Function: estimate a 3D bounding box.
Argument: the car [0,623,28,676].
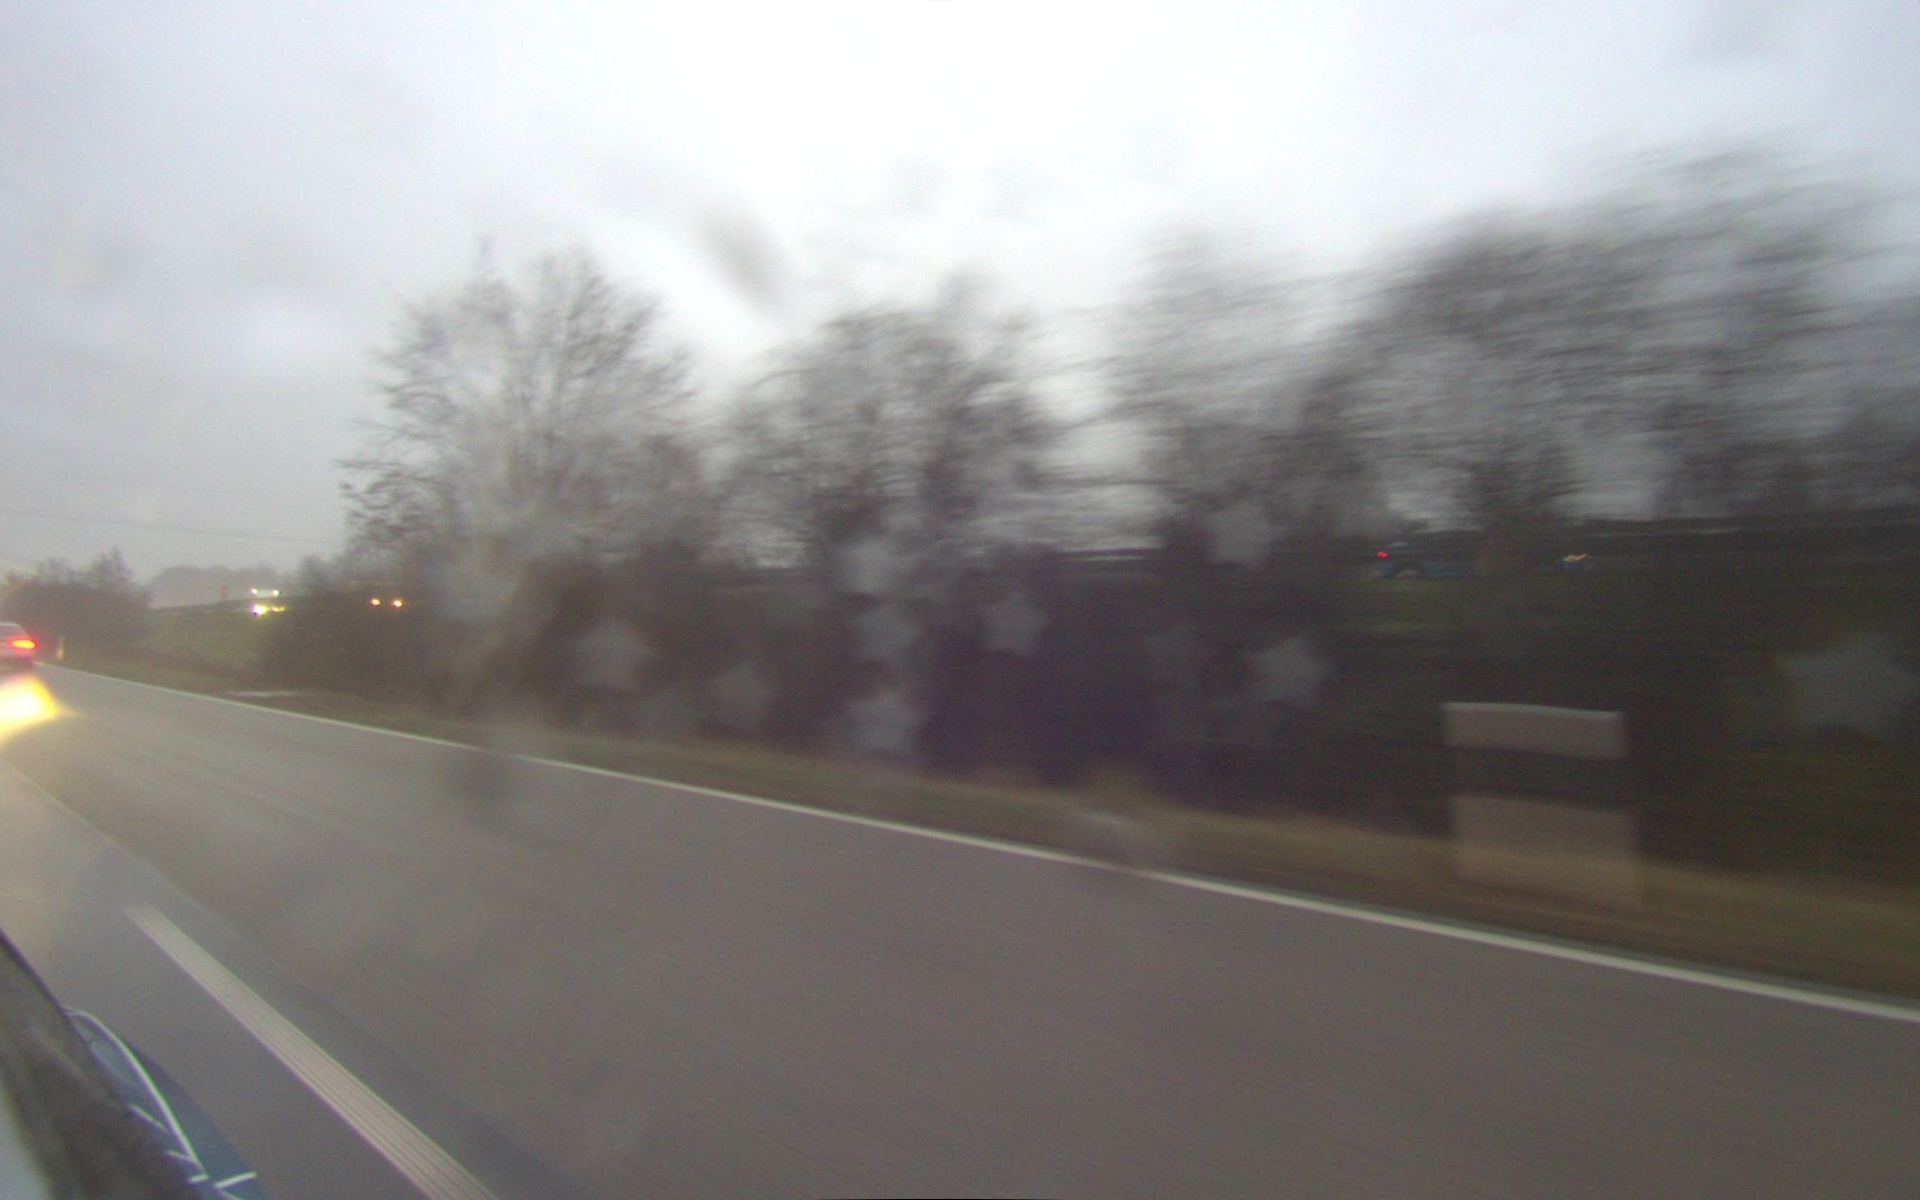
[{"bbox_3d":[-29.569,1.495,30.562,4.411,1.518,1.670,-2,-1,42],"label":"car"}]
